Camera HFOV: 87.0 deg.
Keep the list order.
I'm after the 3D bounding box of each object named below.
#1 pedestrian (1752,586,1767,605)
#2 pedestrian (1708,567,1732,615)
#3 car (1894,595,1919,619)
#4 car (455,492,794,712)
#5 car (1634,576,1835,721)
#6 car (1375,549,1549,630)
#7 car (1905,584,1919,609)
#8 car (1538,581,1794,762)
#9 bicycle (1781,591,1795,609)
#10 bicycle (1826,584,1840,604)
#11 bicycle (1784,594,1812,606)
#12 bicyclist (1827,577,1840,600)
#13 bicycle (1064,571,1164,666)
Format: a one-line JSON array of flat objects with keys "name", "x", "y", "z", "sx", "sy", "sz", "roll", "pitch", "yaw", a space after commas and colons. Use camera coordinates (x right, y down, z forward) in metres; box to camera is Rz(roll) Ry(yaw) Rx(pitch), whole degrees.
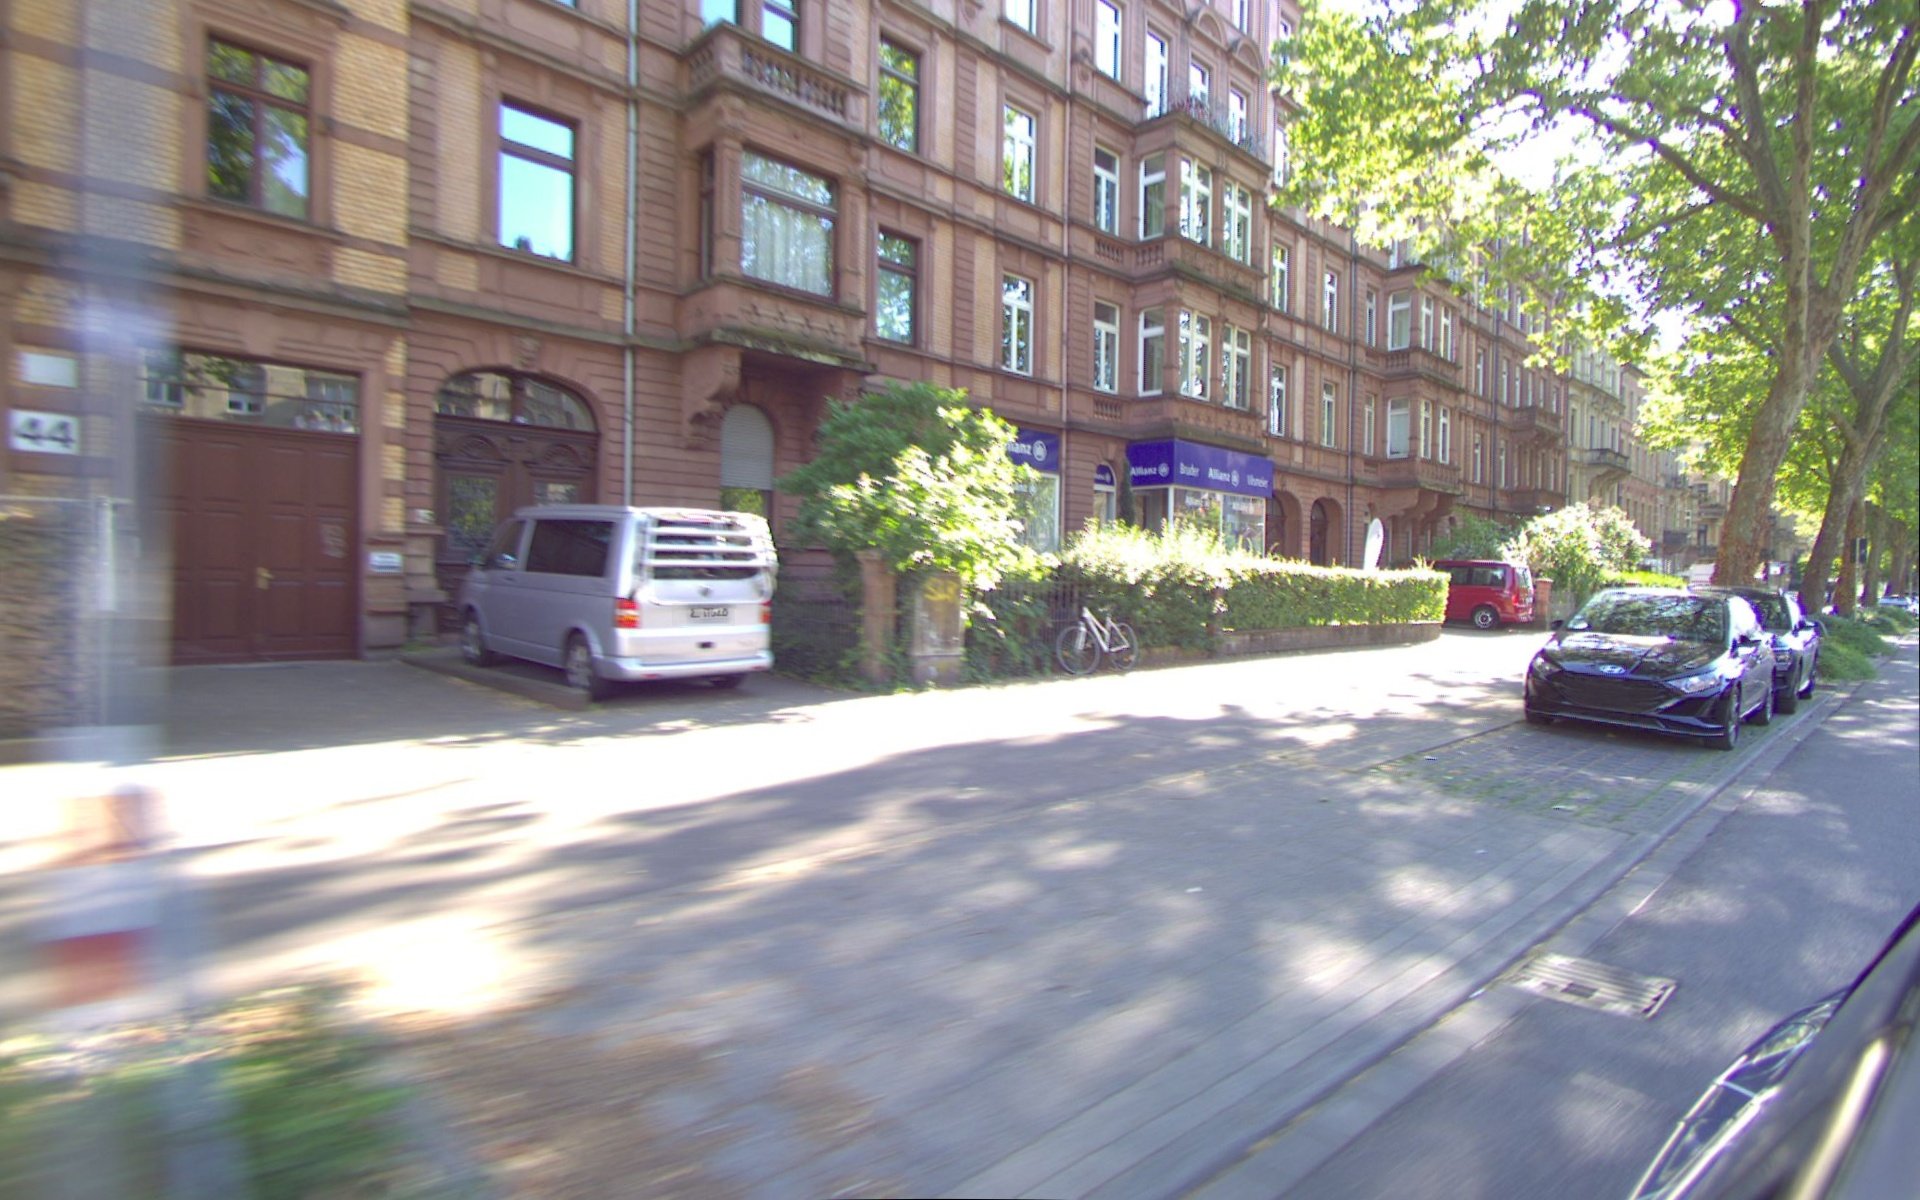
[{"name": "pedestrian", "x": 54.913, "y": -0.310, "z": 69.513, "sx": 0.713, "sy": 1.316, "sz": 0.652, "roll": 2, "pitch": 2, "yaw": 45}, {"name": "pedestrian", "x": 32.856, "y": -0.408, "z": 43.752, "sx": 0.623, "sy": 2.038, "sz": 0.673, "roll": 0, "pitch": 2, "yaw": -45}, {"name": "car", "x": 55.458, "y": 0.391, "z": 58.620, "sx": 3.935, "sy": 1.343, "sz": 1.831, "roll": 0, "pitch": 2, "yaw": -45}, {"name": "car", "x": -4.041, "y": -0.130, "z": 11.679, "sx": 1.883, "sy": 2.038, "sz": 4.578, "roll": 0, "pitch": 4, "yaw": -44}, {"name": "car", "x": 10.608, "y": 0.527, "z": 13.736, "sx": 1.617, "sy": 1.606, "sz": 4.346, "roll": 4, "pitch": 3, "yaw": 44}, {"name": "car", "x": 14.894, "y": -0.367, "z": 30.172, "sx": 4.179, "sy": 2.038, "sz": 1.968, "roll": 6, "pitch": 4, "yaw": 44}, {"name": "car", "x": 81.065, "y": -0.255, "z": 85.265, "sx": 1.994, "sy": 2.038, "sz": 5.119, "roll": 4, "pitch": 2, "yaw": 44}, {"name": "car", "x": 7.634, "y": 0.604, "z": 10.786, "sx": 1.553, "sy": 1.517, "sz": 3.985, "roll": 4, "pitch": 3, "yaw": 44}, {"name": "bicycle", "x": 53.701, "y": 0.004, "z": 65.633, "sx": 0.475, "sy": 1.157, "sz": 1.865, "roll": 5, "pitch": 4, "yaw": 45}, {"name": "bicycle", "x": 53.118, "y": -0.366, "z": 61.566, "sx": 0.560, "sy": 1.193, "sz": 2.191, "roll": -2, "pitch": -1, "yaw": 43}, {"name": "bicycle", "x": 67.323, "y": 0.009, "z": 81.335, "sx": 1.685, "sy": 0.928, "sz": 0.595, "roll": 2, "pitch": 2, "yaw": 35}, {"name": "bicyclist", "x": 53.187, "y": -0.688, "z": 61.648, "sx": 0.543, "sy": 1.398, "sz": 0.634, "roll": -1, "pitch": -2, "yaw": 44}, {"name": "bicycle", "x": 2.180, "y": 0.242, "z": 14.215, "sx": 1.736, "sy": 1.266, "sz": 0.338, "roll": 0, "pitch": -1, "yaw": -41}]
